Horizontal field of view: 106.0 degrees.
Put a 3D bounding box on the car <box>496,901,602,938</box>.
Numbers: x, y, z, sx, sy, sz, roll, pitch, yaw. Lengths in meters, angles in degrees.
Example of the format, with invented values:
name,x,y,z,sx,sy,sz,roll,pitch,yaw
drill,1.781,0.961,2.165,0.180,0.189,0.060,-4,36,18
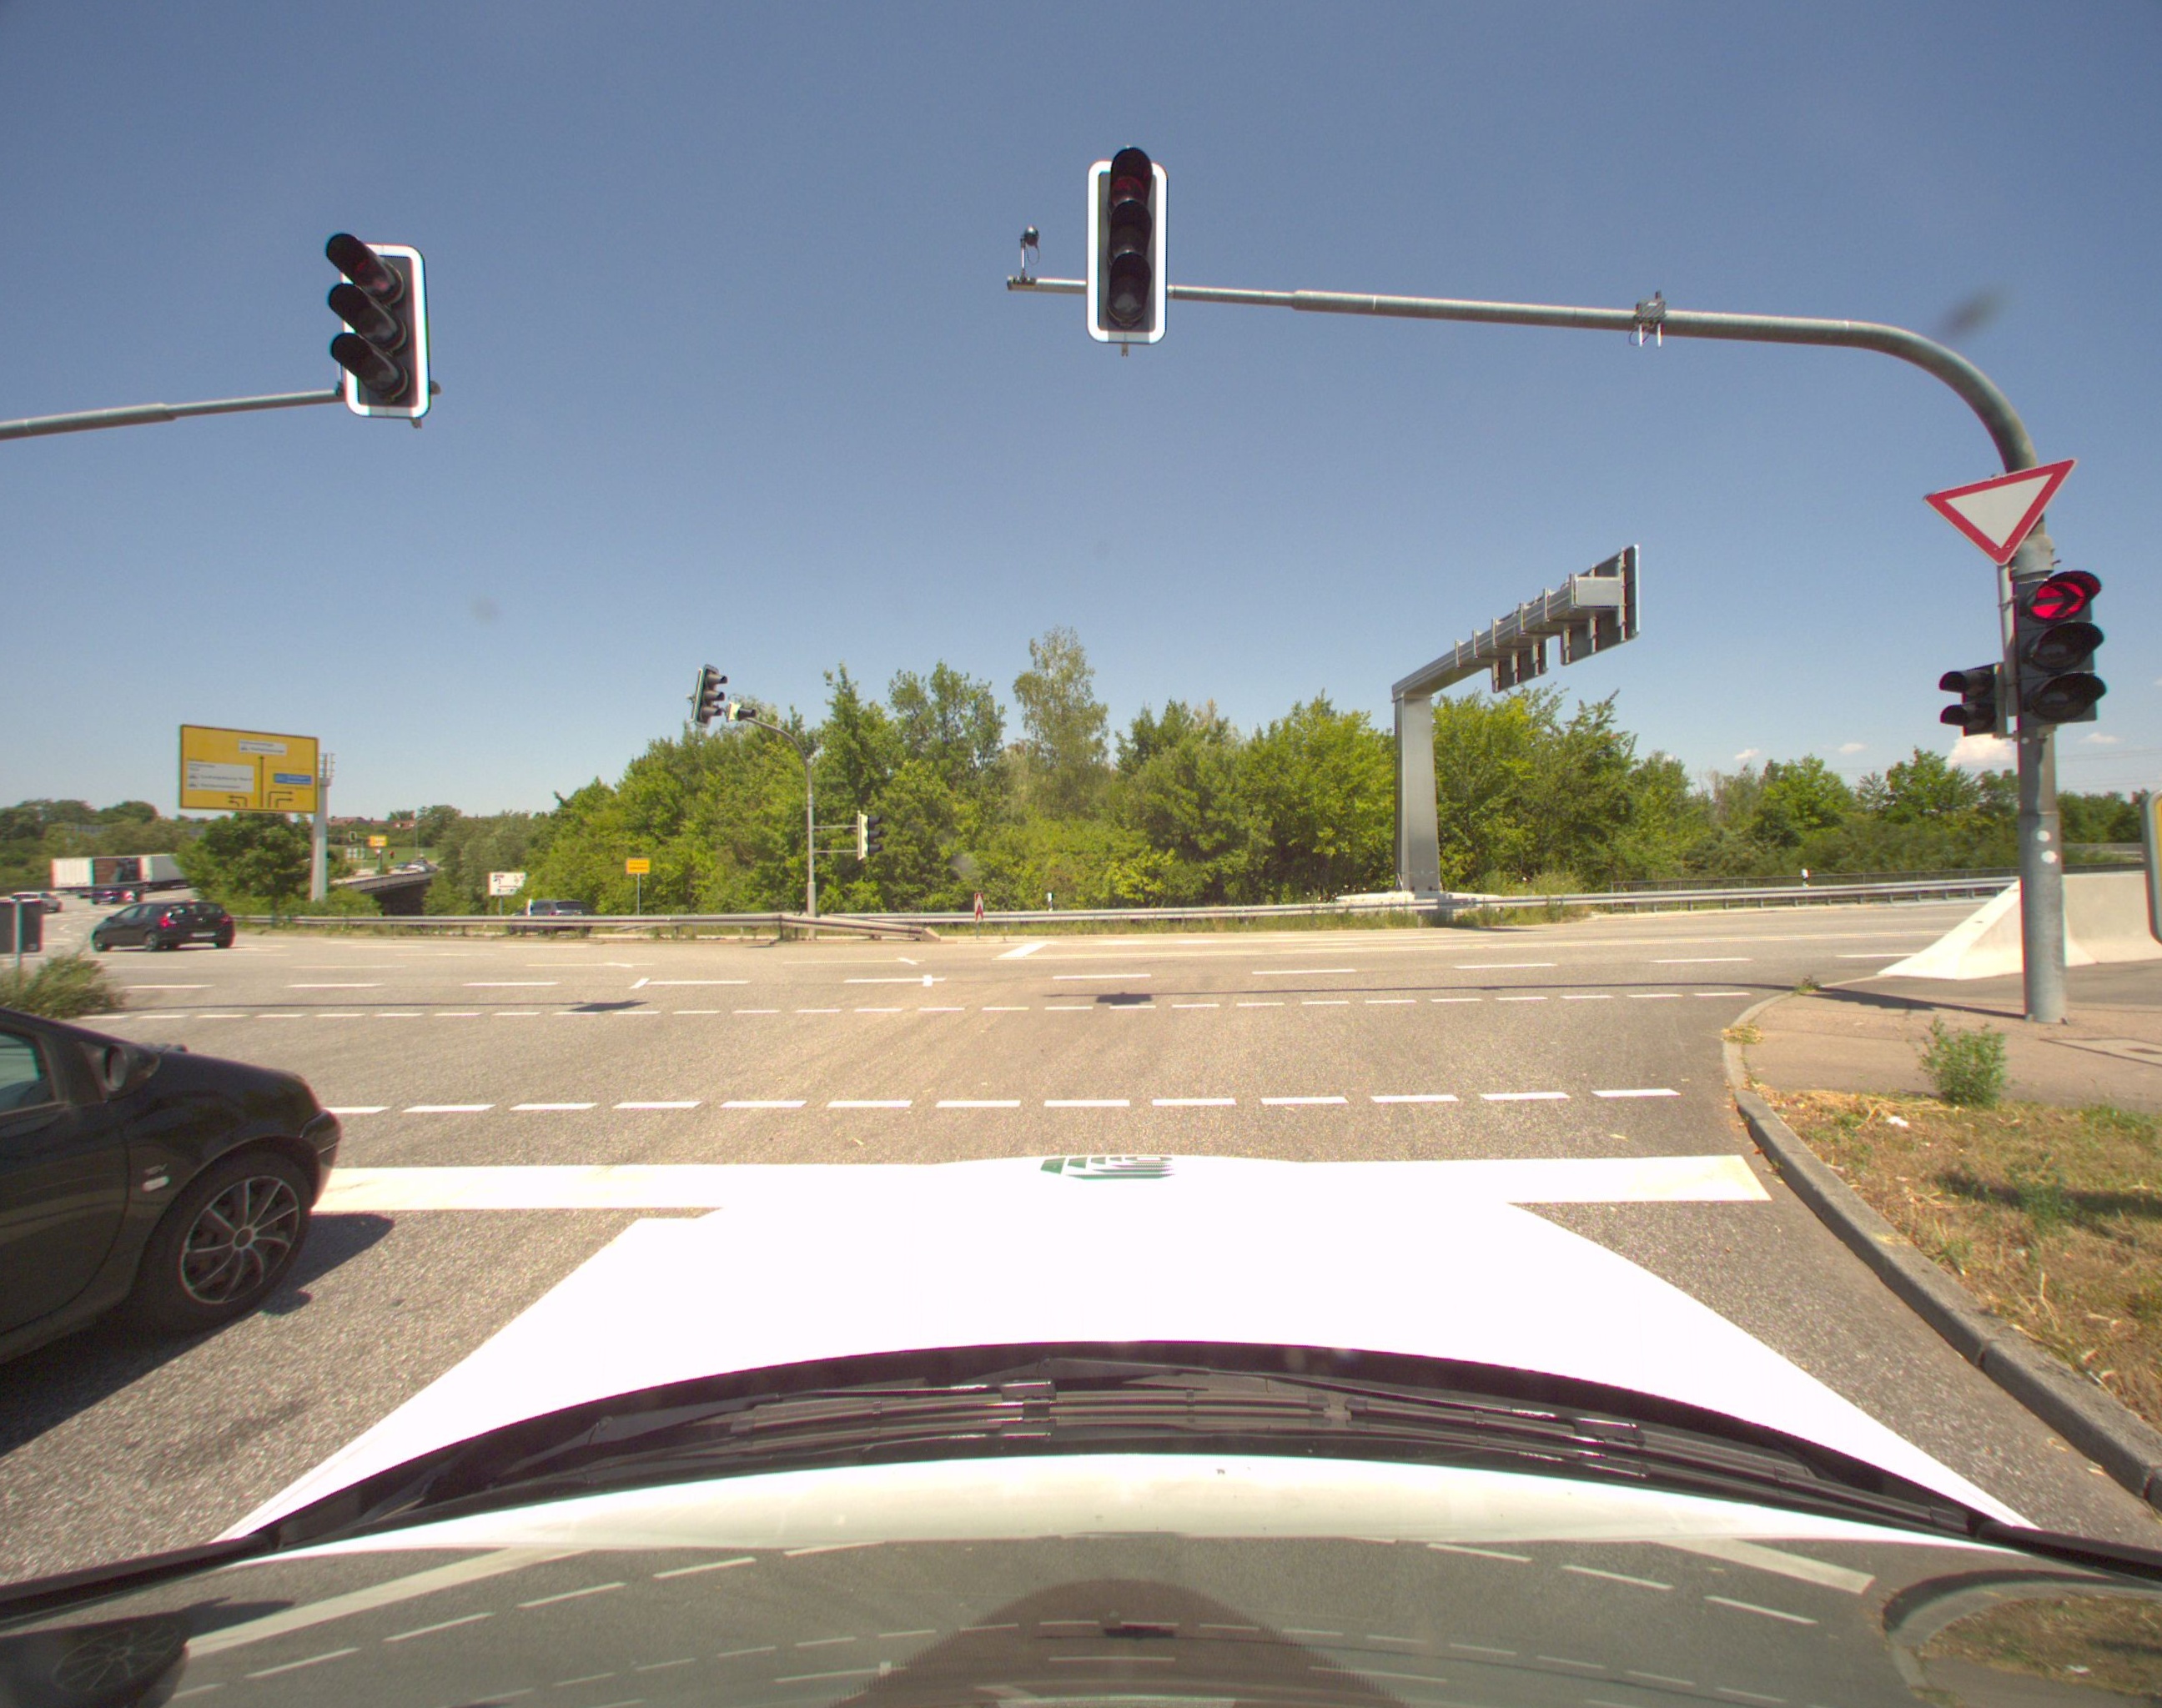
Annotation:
name,x,y,z,sx,sy,sz,roll,pitch,yaw
car,-22.304,2.713,34.110,4.357,1.434,1.822,-2,-4,29

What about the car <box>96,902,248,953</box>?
name,x,y,z,sx,sy,sz,roll,pitch,yaw
car,-27.614,2.187,24.759,3.881,1.434,1.821,-2,-4,22

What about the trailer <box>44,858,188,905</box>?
name,x,y,z,sx,sy,sz,roll,pitch,yaw
trailer,-100.002,2.673,84.966,3.246,4.248,15.286,0,0,-24

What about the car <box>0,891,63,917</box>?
name,x,y,z,sx,sy,sz,roll,pitch,yaw
car,-80.488,3.794,62.513,1.943,1.665,3.956,0,0,-37

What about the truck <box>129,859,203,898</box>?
name,x,y,z,sx,sy,sz,roll,pitch,yaw
truck,-103.082,2.675,91.889,3.246,4.248,6.188,0,0,-24

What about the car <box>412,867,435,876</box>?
name,x,y,z,sx,sy,sz,roll,pitch,yaw
car,-126.313,3.391,156.409,1.798,1.631,3.802,0,0,-11

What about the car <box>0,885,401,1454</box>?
name,x,y,z,sx,sy,sz,roll,pitch,yaw
car,-3.553,0.830,1.657,1.615,1.407,3.298,-1,-1,-2

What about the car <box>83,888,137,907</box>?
name,x,y,z,sx,sy,sz,roll,pitch,yaw
car,-87.074,3.865,73.090,2.008,1.552,3.958,0,-1,-33
